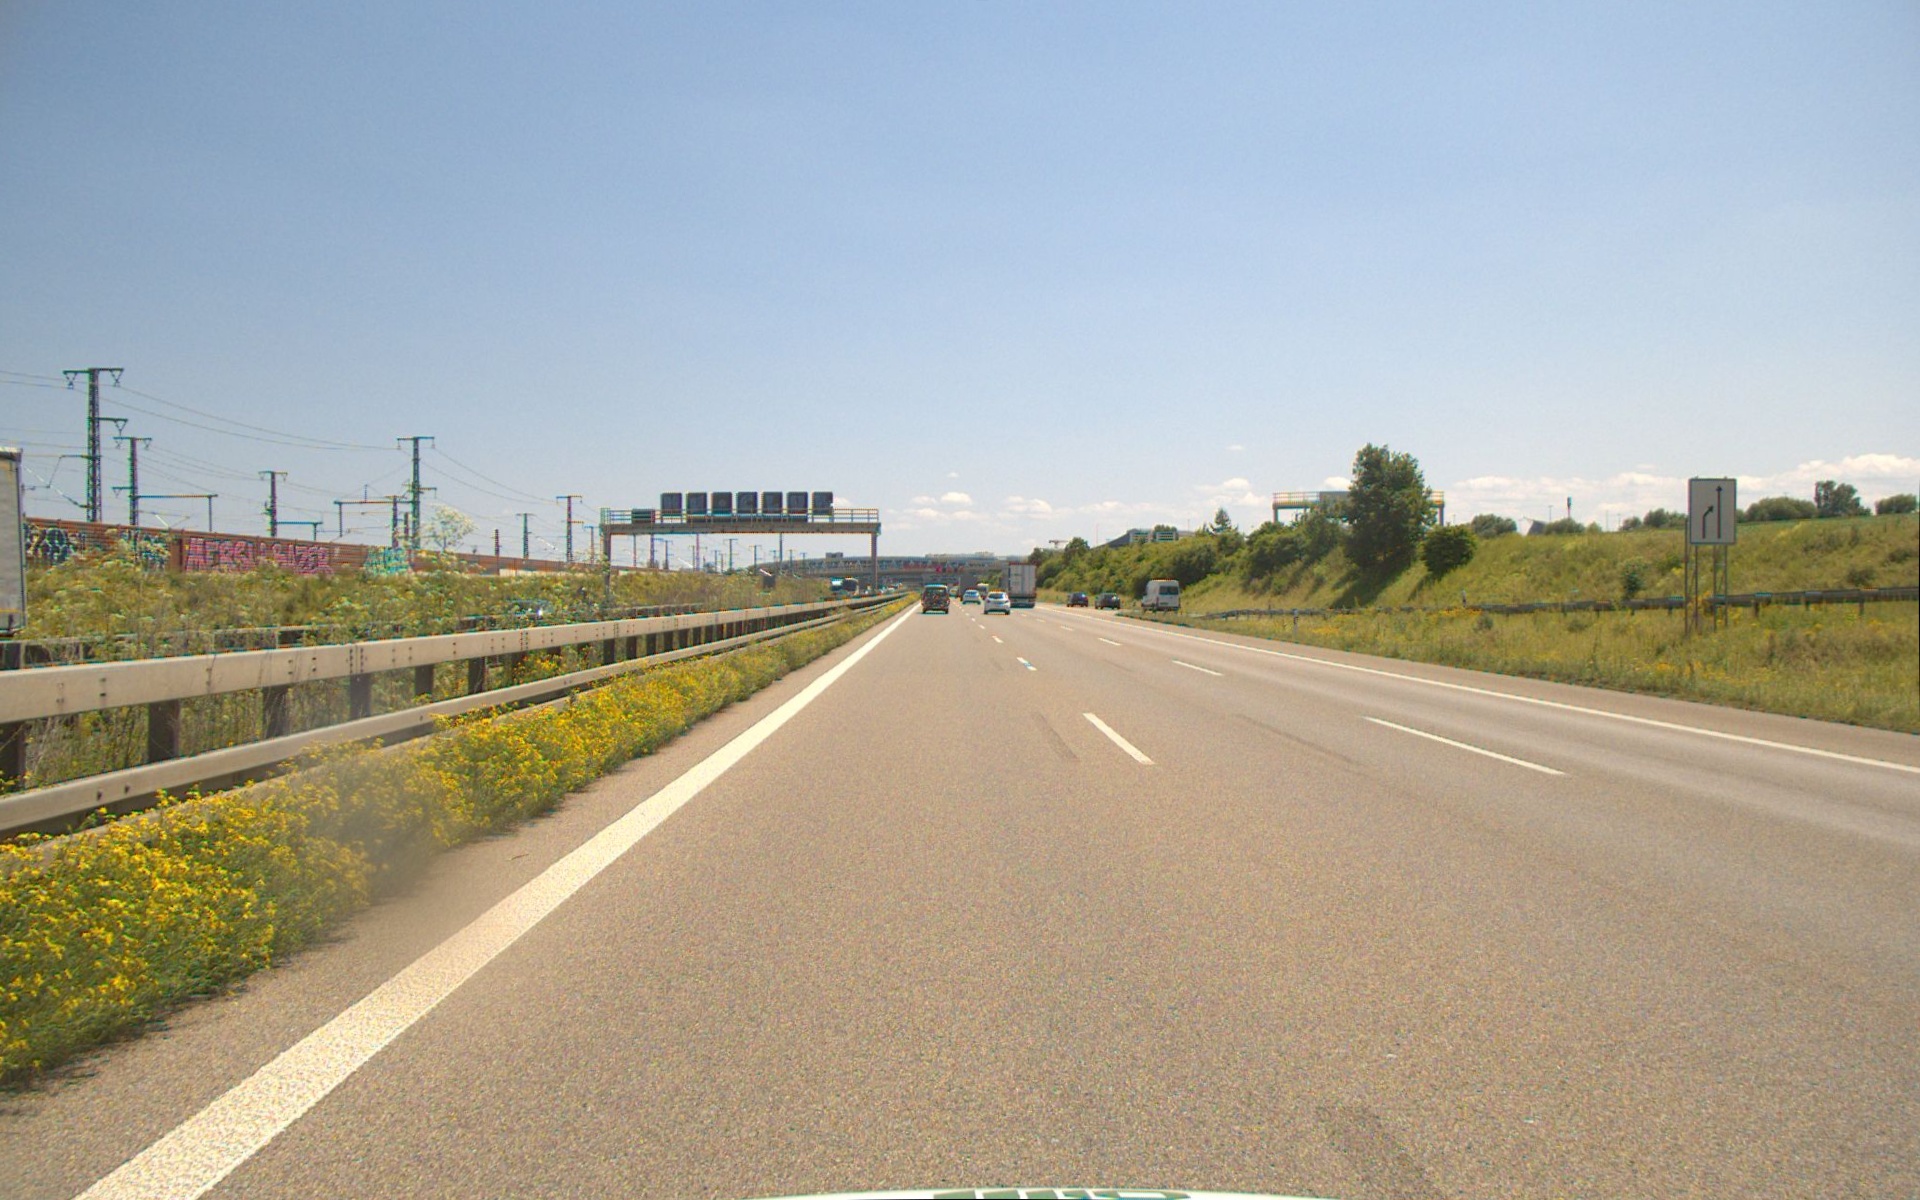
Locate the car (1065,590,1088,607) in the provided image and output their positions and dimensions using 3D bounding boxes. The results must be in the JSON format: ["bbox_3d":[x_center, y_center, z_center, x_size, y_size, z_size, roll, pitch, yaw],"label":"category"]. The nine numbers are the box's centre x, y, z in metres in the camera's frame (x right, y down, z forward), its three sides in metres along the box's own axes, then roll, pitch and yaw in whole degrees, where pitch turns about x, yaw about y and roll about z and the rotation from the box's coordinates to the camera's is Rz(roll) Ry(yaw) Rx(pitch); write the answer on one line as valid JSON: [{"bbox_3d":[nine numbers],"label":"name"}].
[{"bbox_3d":[11.972,-0.107,170.317,1.953,1.624,3.999,2,-1,-1],"label":"car"}]

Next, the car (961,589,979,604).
[{"bbox_3d":[1.059,-0.405,177.317,1.842,1.553,4.000,1,0,0],"label":"car"}]

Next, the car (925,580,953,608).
[{"bbox_3d":[-1.402,-0.378,109.571,1.842,1.806,3.999,0,0,-1],"label":"car"}]

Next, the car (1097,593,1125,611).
[{"bbox_3d":[13.678,0.165,150.050,1.954,1.534,3.997,2,-1,-3],"label":"car"}]

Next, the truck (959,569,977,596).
[{"bbox_3d":[1.001,-2.320,219.896,2.307,3.476,6.056,0,0,-1],"label":"truck"}]

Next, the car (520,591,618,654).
[{"bbox_3d":[-9.908,0.538,42.146,1.612,1.505,3.813,0,0,0],"label":"car"}]

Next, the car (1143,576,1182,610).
[{"bbox_3d":[16.032,-0.559,131.042,2.228,2.572,5.398,1,0,-2],"label":"car"}]

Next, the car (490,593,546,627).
[{"bbox_3d":[-21.269,0.448,79.637,1.685,1.571,3.809,0,0,0],"label":"car"}]

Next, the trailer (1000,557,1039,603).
[{"bbox_3d":[5.464,-1.827,152.913,3.112,4.130,9.438,-1,0,-1],"label":"trailer"}]

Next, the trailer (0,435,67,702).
[{"bbox_3d":[-16.237,-0.440,20.751,2.674,4.145,13.529,-1,0,0],"label":"trailer"}]

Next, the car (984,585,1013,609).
[{"bbox_3d":[2.581,-0.176,110.528,1.841,1.553,4.001,1,0,2],"label":"car"}]
